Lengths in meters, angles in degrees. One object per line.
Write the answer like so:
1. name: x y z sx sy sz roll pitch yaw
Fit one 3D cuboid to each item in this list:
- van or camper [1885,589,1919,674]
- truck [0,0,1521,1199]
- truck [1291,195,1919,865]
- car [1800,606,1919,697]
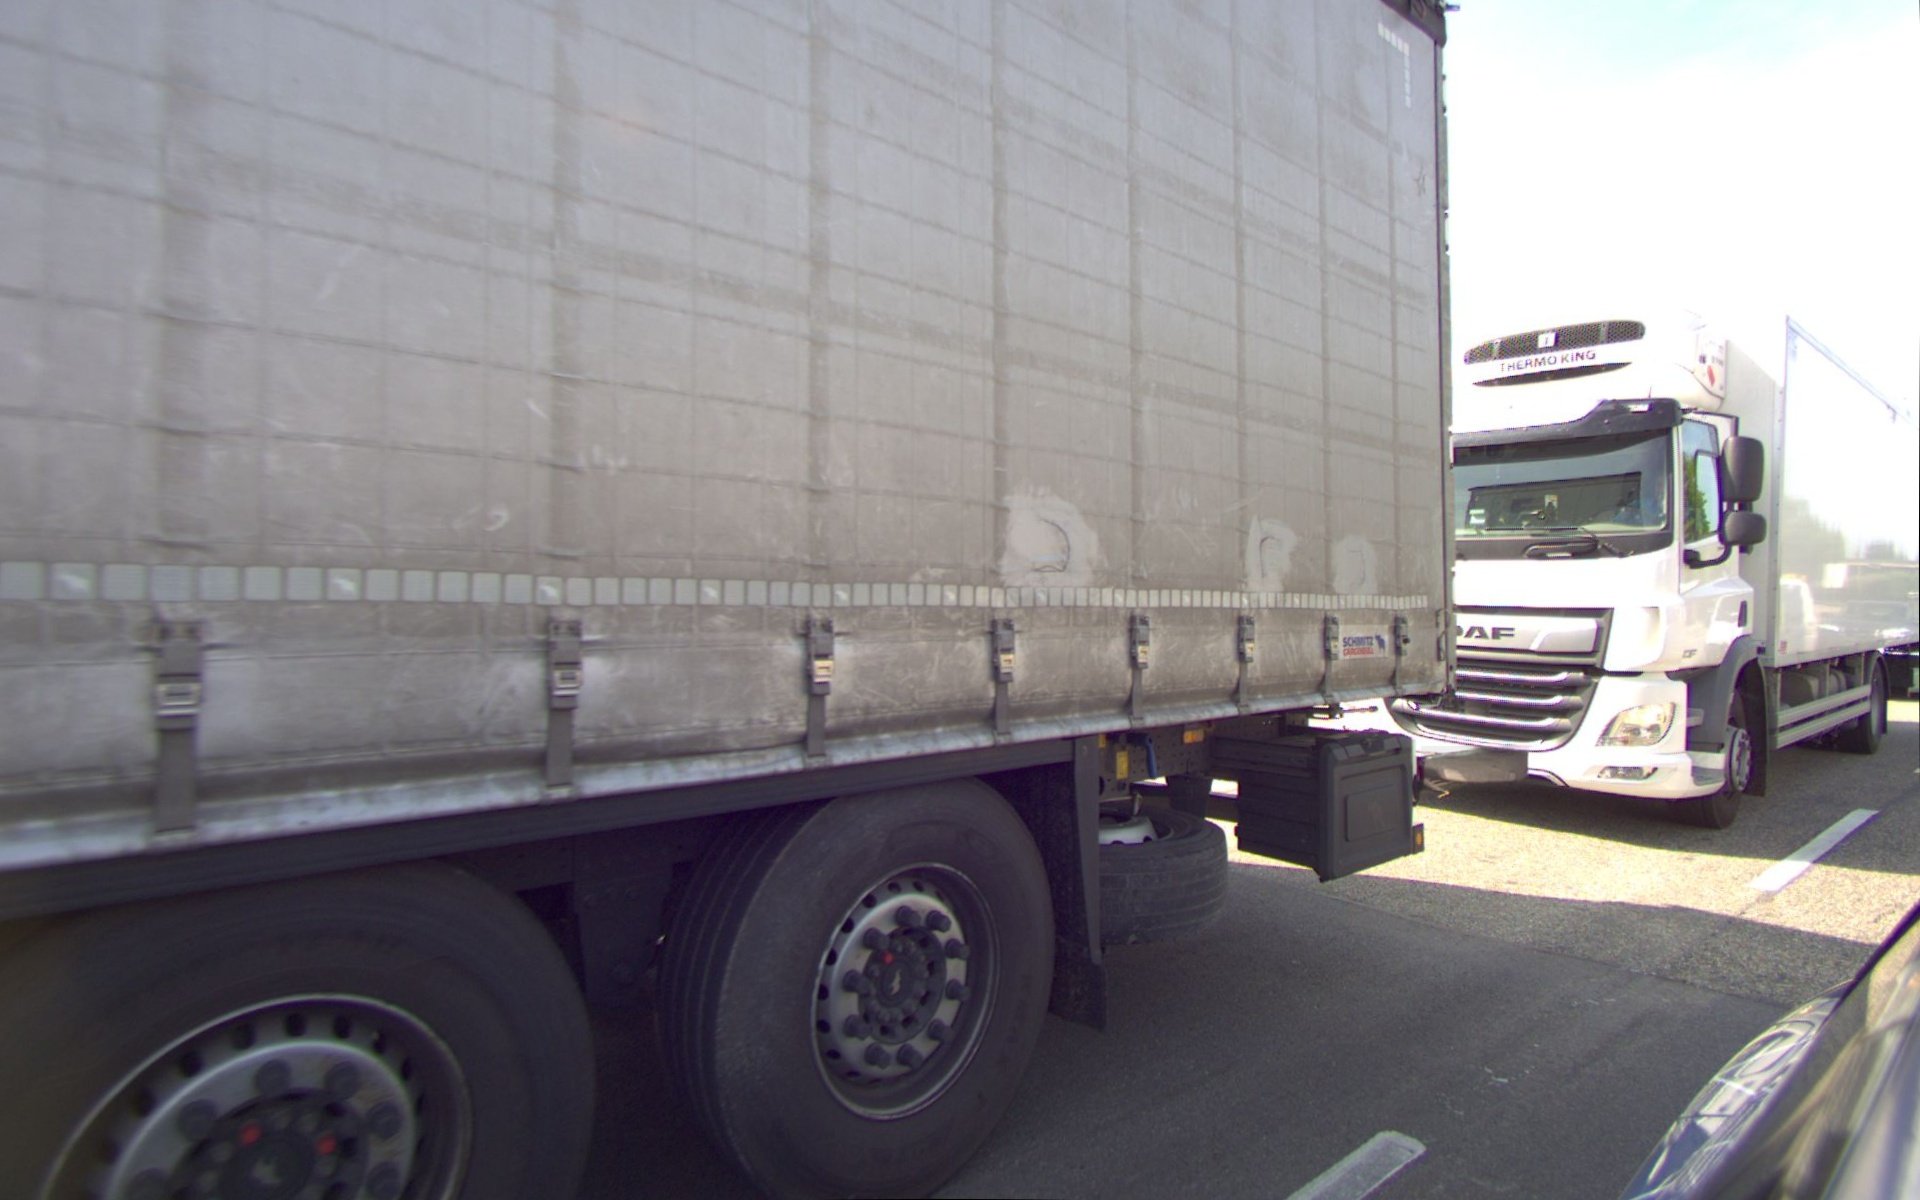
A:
1. van or camper: 22.482 0.669 22.781 5.041 1.810 1.750 0 -1 -40
2. truck: -4.682 -0.786 0.117 16.416 4.320 2.895 0 -1 -41
3. truck: 7.740 -0.377 10.469 10.943 3.860 2.884 0 -1 -40
4. car: 16.592 0.842 18.090 4.150 1.447 1.738 0 -1 -41
